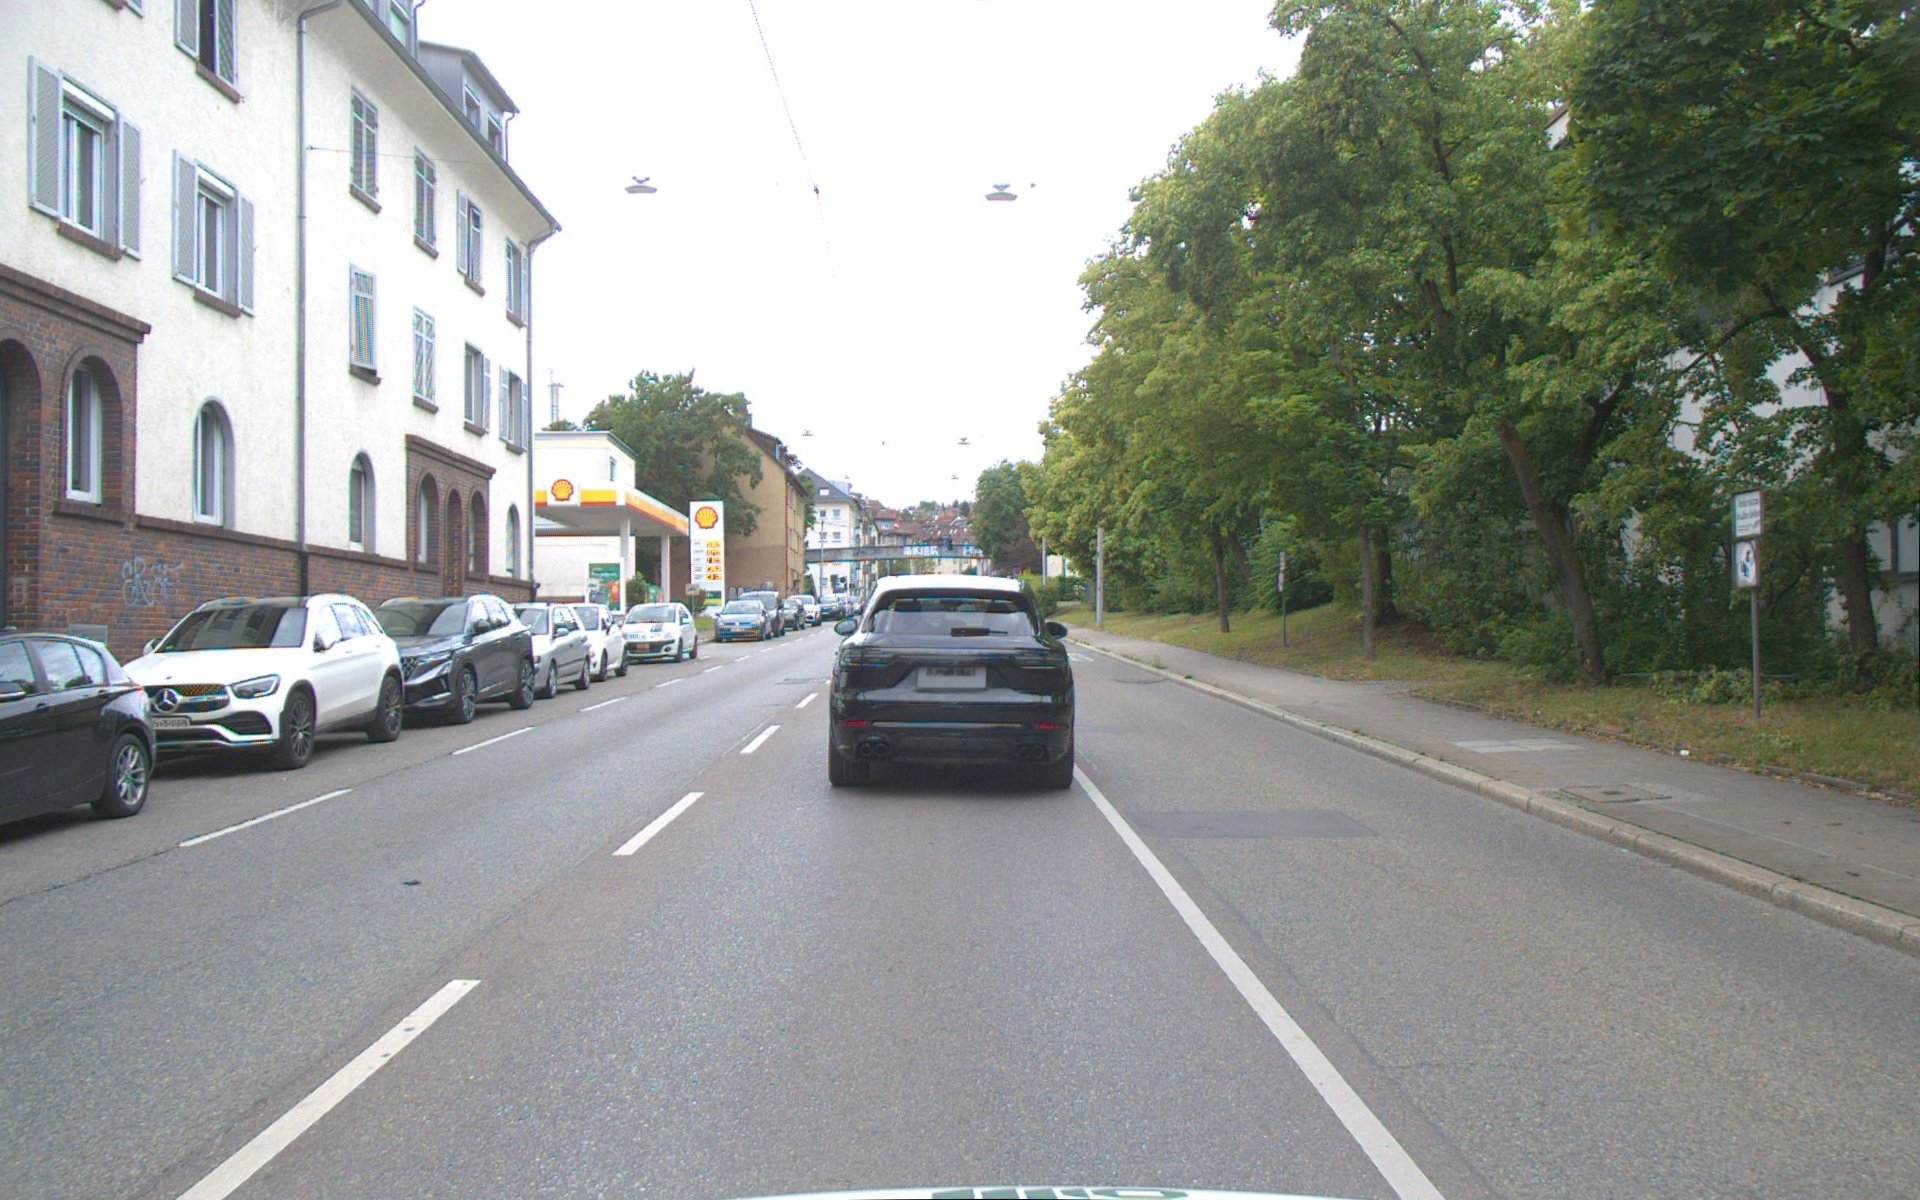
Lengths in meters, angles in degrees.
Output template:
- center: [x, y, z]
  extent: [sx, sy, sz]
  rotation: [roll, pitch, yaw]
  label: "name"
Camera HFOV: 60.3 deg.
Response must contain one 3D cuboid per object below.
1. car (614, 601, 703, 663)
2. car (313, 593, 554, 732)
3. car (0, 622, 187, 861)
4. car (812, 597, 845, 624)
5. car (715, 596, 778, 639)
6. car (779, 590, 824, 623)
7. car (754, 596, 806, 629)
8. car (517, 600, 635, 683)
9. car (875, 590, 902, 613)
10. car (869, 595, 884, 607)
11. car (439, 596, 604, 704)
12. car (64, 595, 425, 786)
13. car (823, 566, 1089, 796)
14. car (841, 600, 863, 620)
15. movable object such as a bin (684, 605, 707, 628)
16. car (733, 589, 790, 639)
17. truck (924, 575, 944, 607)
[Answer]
- center: [-7.606, 0.779, 41.971]
  extent: [1.586, 1.450, 3.665]
  rotation: [-1, 0, 0]
  label: "car"
- center: [-6.960, 0.750, 22.360]
  extent: [1.691, 1.627, 4.502]
  rotation: [-1, 0, 1]
  label: "car"
- center: [-6.931, 0.934, 10.950]
  extent: [1.692, 1.454, 4.191]
  rotation: [-1, 0, -1]
  label: "car"
- center: [-8.586, 0.672, 108.102]
  extent: [1.746, 1.637, 4.264]
  rotation: [-3, 0, 0]
  label: "car"
- center: [-7.724, 0.604, 60.060]
  extent: [1.754, 1.475, 4.217]
  rotation: [-2, 0, -1]
  label: "car"
- center: [-8.258, 0.316, 86.340]
  extent: [1.876, 1.605, 4.699]
  rotation: [-1, 0, 0]
  label: "car"
- center: [-8.348, 0.551, 77.040]
  extent: [1.760, 1.456, 4.744]
  rotation: [-2, 0, 1]
  label: "car"
- center: [-7.514, 0.769, 32.608]
  extent: [1.516, 1.501, 3.603]
  rotation: [-1, 0, -1]
  label: "car"
- center: [-5.033, 0.110, 116.438]
  extent: [1.761, 1.551, 3.999]
  rotation: [-2, 0, -1]
  label: "car"
- center: [-10.842, 0.117, 216.030]
  extent: [1.729, 1.534, 4.000]
  rotation: [-1, 0, 0]
  label: "car"
- center: [-7.228, 0.772, 27.665]
  extent: [1.692, 1.585, 4.080]
  rotation: [-3, 0, -1]
  label: "car"
- center: [-7.180, 0.807, 17.191]
  extent: [1.808, 1.649, 4.642]
  rotation: [-1, 0, -2]
  label: "car"
- center: [-0.043, 0.574, 14.186]
  extent: [1.953, 1.691, 4.000]
  rotation: [0, 1, -1]
  label: "car"
- center: [-9.059, 0.800, 138.400]
  extent: [1.711, 1.596, 3.906]
  rotation: [-2, 0, -3]
  label: "car"
- center: [-16.923, 1.035, 105.722]
  extent: [1.365, 1.453, 0.912]
  rotation: [0, 0, -3]
  label: "movable object such as a bin"
- center: [-7.873, 0.539, 65.926]
  extent: [1.814, 1.867, 4.700]
  rotation: [-2, 0, -2]
  label: "car"
- center: [-3.022, -1.000, 189.364]
  extent: [2.221, 3.484, 9.875]
  rotation: [-1, 0, -1]
  label: "truck"
